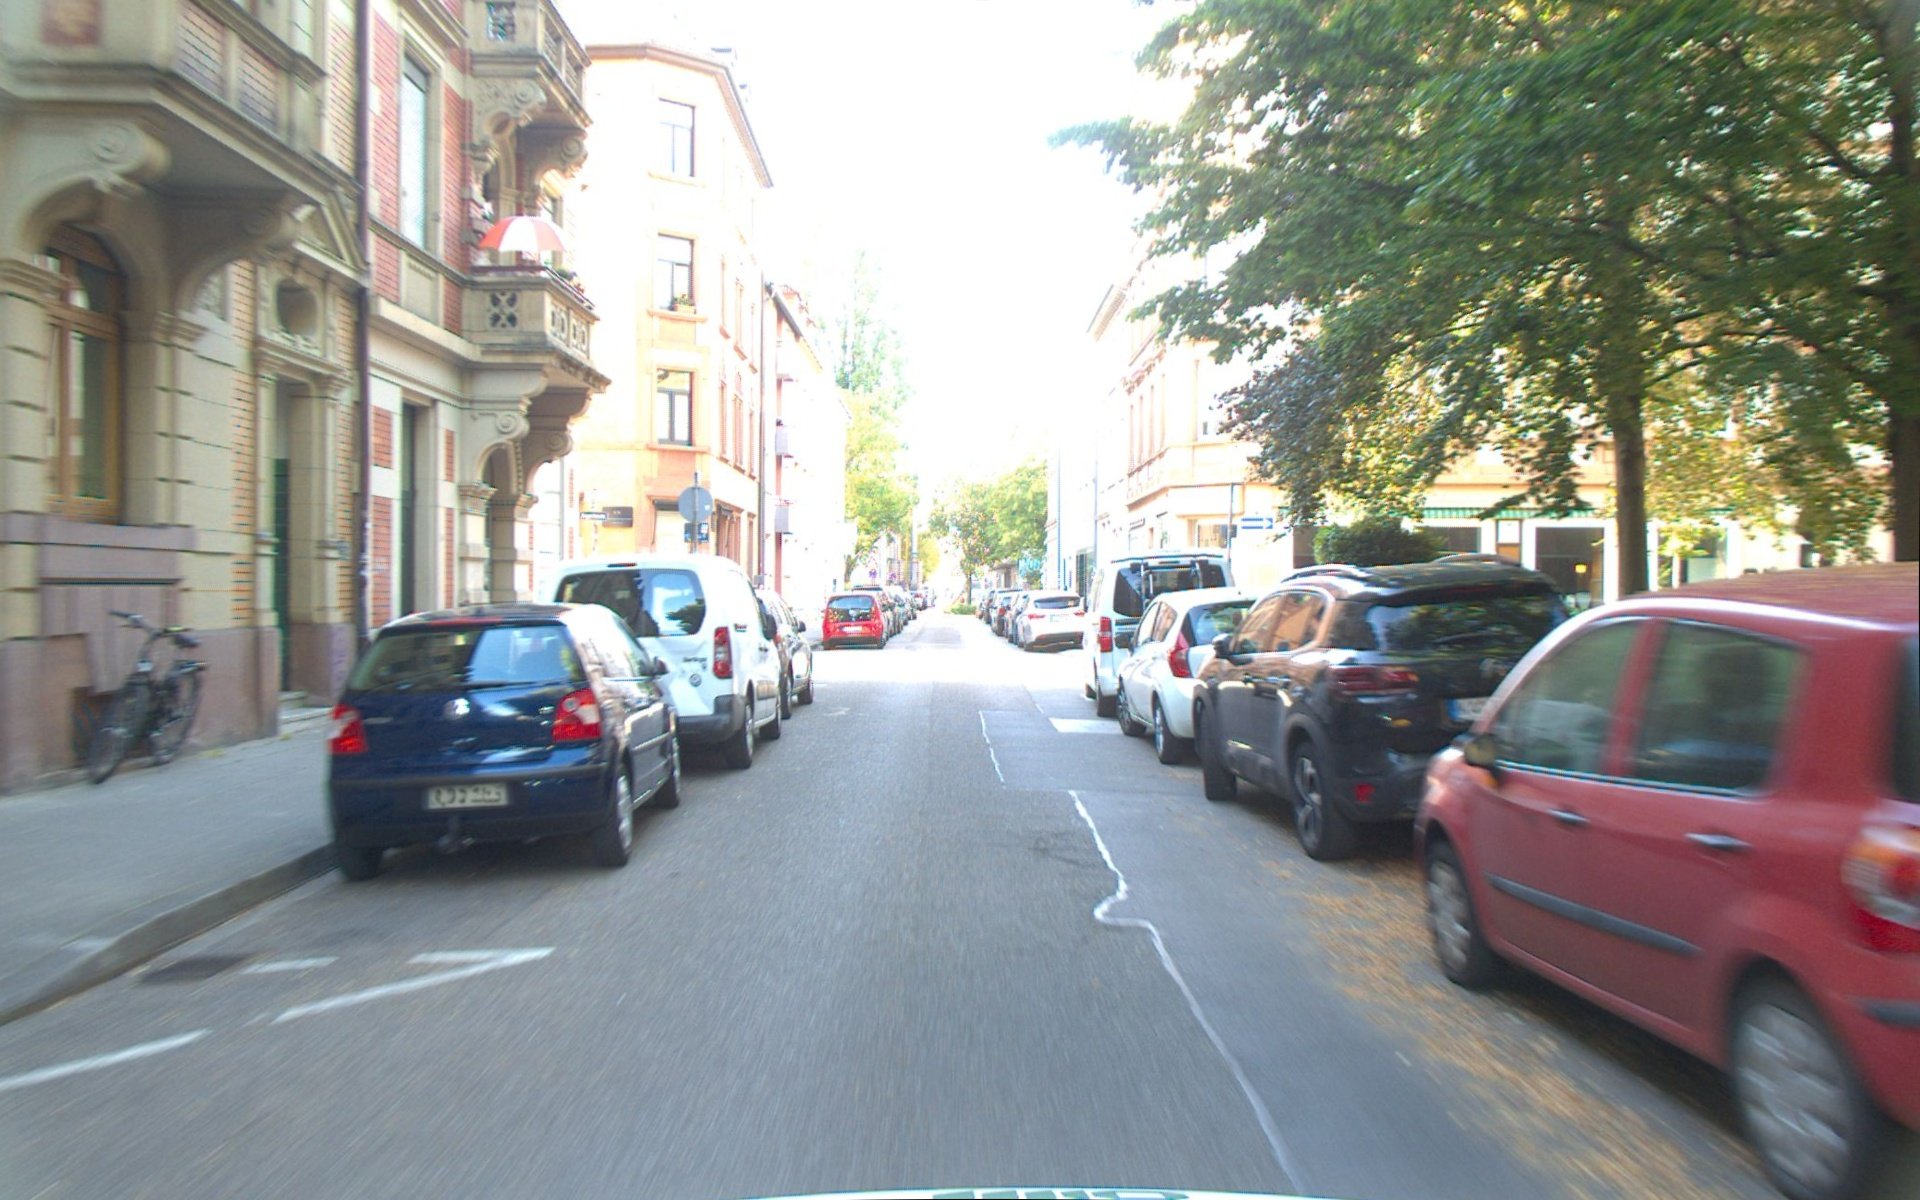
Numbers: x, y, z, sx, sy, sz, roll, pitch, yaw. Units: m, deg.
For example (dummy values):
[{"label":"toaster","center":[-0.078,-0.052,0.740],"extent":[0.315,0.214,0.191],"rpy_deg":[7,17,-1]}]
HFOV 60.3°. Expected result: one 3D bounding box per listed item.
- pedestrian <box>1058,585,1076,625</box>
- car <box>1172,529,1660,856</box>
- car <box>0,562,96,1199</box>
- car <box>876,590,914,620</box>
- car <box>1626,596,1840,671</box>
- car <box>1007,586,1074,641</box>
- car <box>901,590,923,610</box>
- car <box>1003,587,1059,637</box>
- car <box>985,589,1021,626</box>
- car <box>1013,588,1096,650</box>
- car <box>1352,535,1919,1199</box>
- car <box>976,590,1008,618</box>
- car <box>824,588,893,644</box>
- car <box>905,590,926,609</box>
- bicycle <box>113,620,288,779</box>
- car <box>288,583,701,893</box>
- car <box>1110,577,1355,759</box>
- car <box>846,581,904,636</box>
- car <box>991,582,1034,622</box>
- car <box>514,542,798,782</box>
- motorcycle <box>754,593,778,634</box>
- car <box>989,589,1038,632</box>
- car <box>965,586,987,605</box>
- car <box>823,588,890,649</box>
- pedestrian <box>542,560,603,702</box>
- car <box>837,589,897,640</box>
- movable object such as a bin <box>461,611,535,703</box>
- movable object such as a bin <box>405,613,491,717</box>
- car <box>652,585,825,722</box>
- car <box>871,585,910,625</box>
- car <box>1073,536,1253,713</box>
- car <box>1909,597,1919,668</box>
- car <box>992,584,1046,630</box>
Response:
[{"label":"pedestrian","center":[4.478,0.211,69.327],"extent":[0.671,1.689,0.717],"rpy_deg":[-1,0,-1]},{"label":"car","center":[2.755,0.514,11.091],"extent":[1.706,1.631,4.260],"rpy_deg":[-4,0,-4]},{"label":"car","center":[-2.364,0.752,0.810],"extent":[1.730,1.540,4.192],"rpy_deg":[-2,0,-1]},{"label":"car","center":[-3.433,0.266,87.724],"extent":[1.635,1.495,3.821],"rpy_deg":[-2,0,3]},{"label":"car","center":[16.252,0.714,34.932],"extent":[3.773,1.499,1.634],"rpy_deg":[1,-2,6]},{"label":"car","center":[2.377,0.385,49.831],"extent":[1.708,1.533,4.020],"rpy_deg":[-2,0,-1]},{"label":"car","center":[-3.837,-0.015,133.022],"extent":[1.642,1.513,4.094],"rpy_deg":[-2,0,-1]},{"label":"car","center":[2.308,0.359,54.672],"extent":[1.566,1.533,4.183],"rpy_deg":[-2,0,-1]},{"label":"car","center":[2.074,0.373,81.259],"extent":[1.641,1.711,4.094],"rpy_deg":[-2,0,1]},{"label":"car","center":[2.457,0.463,44.058],"extent":[1.709,1.533,4.355],"rpy_deg":[-2,0,-3]},{"label":"car","center":[2.769,0.651,5.627],"extent":[1.587,1.652,3.860],"rpy_deg":[-4,0,-4]},{"label":"car","center":[1.815,0.192,95.451],"extent":[1.642,1.513,4.094],"rpy_deg":[-2,0,-1]},{"label":"car","center":[-2.985,0.438,49.369],"extent":[1.660,1.547,4.096],"rpy_deg":[-2,0,1]},{"label":"car","center":[-3.702,-0.023,138.175],"extent":[1.642,1.513,4.094],"rpy_deg":[-2,0,-1]},{"label":"bicycle","center":[-5.586,0.698,12.252],"extent":[0.559,1.059,1.546],"rpy_deg":[2,0,-1]},{"label":"car","center":[-2.712,0.697,10.539],"extent":[1.659,1.540,3.970],"rpy_deg":[-2,0,-3]},{"label":"car","center":[2.574,0.587,16.449],"extent":[1.684,1.598,3.827],"rpy_deg":[0,0,-2]},{"label":"car","center":[-3.022,0.272,59.565],"extent":[1.707,1.842,4.673],"rpy_deg":[-2,0,1]},{"label":"car","center":[2.373,0.093,75.928],"extent":[1.642,1.655,4.249],"rpy_deg":[-4,0,-1]},{"label":"car","center":[-2.629,0.473,15.386],"extent":[1.794,1.843,4.571],"rpy_deg":[-2,0,-1]},{"label":"motorcycle","center":[-5.935,0.402,50.736],"extent":[0.522,1.227,1.908],"rpy_deg":[0,0,0]},{"label":"car","center":[2.055,0.380,64.283],"extent":[1.642,1.533,3.936],"rpy_deg":[-2,0,-1]},{"label":"car","center":[1.279,-0.388,134.733],"extent":[1.642,1.513,3.637],"rpy_deg":[-2,0,-1]},{"label":"car","center":[-2.751,0.469,44.576],"extent":[1.595,1.507,3.600],"rpy_deg":[-2,0,-1]},{"label":"pedestrian","center":[-4.672,0.376,19.962],"extent":[0.537,1.673,0.717],"rpy_deg":[1,-2,-1]},{"label":"car","center":[-3.017,0.457,54.191],"extent":[1.622,1.547,3.945],"rpy_deg":[-2,0,1]},{"label":"movable object such as a bin","center":[-5.574,0.677,19.990],"extent":[0.624,1.059,0.856],"rpy_deg":[2,0,-1]},{"label":"movable object such as a bin","center":[-5.483,0.685,17.747],"extent":[0.624,1.059,0.856],"rpy_deg":[2,0,-1]},{"label":"car","center":[-2.681,0.588,20.808],"extent":[1.658,1.507,3.972],"rpy_deg":[-2,0,-1]},{"label":"car","center":[-3.274,0.205,78.847],"extent":[1.729,1.816,4.038],"rpy_deg":[-2,0,-1]},{"label":"car","center":[2.562,0.270,21.950],"extent":[1.875,2.033,4.793],"rpy_deg":[-2,0,2]},{"label":"car","center":[22.007,0.703,34.514],"extent":[3.456,1.499,1.634],"rpy_deg":[1,-2,6]},{"label":"car","center":[2.076,0.225,59.108],"extent":[1.642,1.533,3.936],"rpy_deg":[-2,0,-1]}]
